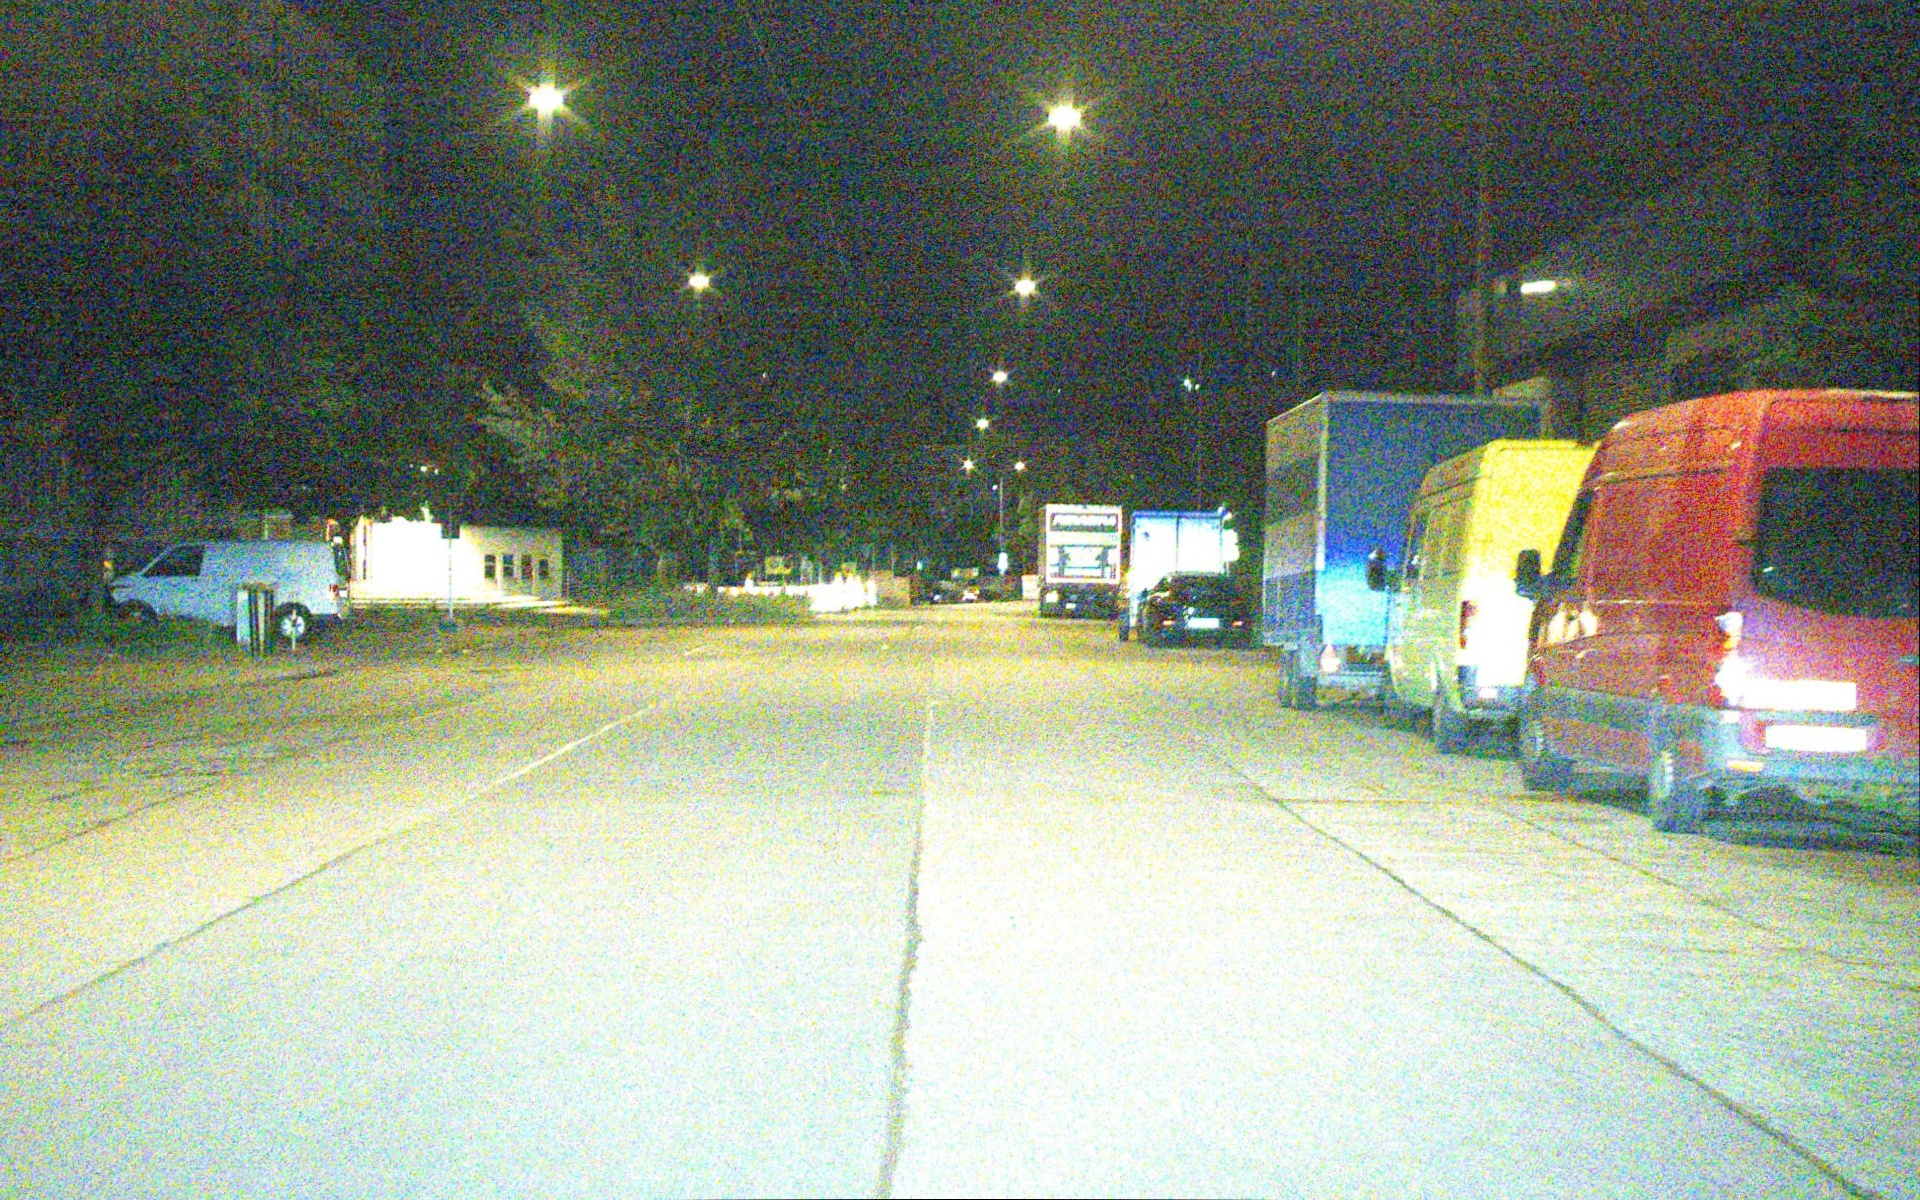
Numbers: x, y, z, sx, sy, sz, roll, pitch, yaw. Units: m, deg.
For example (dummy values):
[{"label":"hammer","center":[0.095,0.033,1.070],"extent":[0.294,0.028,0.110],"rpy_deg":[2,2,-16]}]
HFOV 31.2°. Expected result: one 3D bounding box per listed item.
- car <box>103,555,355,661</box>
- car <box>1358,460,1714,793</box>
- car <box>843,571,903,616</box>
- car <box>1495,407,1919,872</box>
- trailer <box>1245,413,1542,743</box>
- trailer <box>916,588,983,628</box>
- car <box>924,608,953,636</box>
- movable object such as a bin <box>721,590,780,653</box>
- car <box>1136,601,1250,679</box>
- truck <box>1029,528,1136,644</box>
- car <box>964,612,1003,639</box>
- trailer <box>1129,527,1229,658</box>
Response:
[{"label":"car","center":[-14.077,0.144,66.390],"extent":[4.432,1.965,2.000],"rpy_deg":[1,0,0]},{"label":"car","center":[4.817,0.171,29.787],"extent":[1.940,2.539,6.646],"rpy_deg":[1,1,0]},{"label":"car","center":[-6.309,-0.458,249.806],"extent":[2.520,3.160,7.133],"rpy_deg":[-2,0,13]},{"label":"car","center":[4.997,0.194,21.900],"extent":[1.993,2.539,6.026],"rpy_deg":[1,1,-2]},{"label":"trailer","center":[4.573,-0.241,37.005],"extent":[2.398,3.314,4.363],"rpy_deg":[1,0,-3]},{"label":"trailer","center":[-0.625,0.488,197.995],"extent":[1.559,2.153,5.222],"rpy_deg":[-1,-1,-27]},{"label":"car","center":[-1.294,1.347,213.072],"extent":[1.720,1.655,4.000],"rpy_deg":[1,-1,0]},{"label":"movable object such as a bin","center":[-8.382,0.855,137.551],"extent":[1.548,2.459,2.840],"rpy_deg":[-1,0,-21]},{"label":"car","center":[4.458,0.743,66.334],"extent":[1.726,1.382,4.677],"rpy_deg":[1,1,-2]},{"label":"truck","center":[4.230,-0.466,120.756],"extent":[3.324,3.855,9.328],"rpy_deg":[1,0,0]},{"label":"car","center":[1.652,1.813,241.725],"extent":[1.722,1.815,3.997],"rpy_deg":[0,-1,15]},{"label":"trailer","center":[4.564,-0.175,72.196],"extent":[1.994,2.642,4.000],"rpy_deg":[1,1,3]}]
